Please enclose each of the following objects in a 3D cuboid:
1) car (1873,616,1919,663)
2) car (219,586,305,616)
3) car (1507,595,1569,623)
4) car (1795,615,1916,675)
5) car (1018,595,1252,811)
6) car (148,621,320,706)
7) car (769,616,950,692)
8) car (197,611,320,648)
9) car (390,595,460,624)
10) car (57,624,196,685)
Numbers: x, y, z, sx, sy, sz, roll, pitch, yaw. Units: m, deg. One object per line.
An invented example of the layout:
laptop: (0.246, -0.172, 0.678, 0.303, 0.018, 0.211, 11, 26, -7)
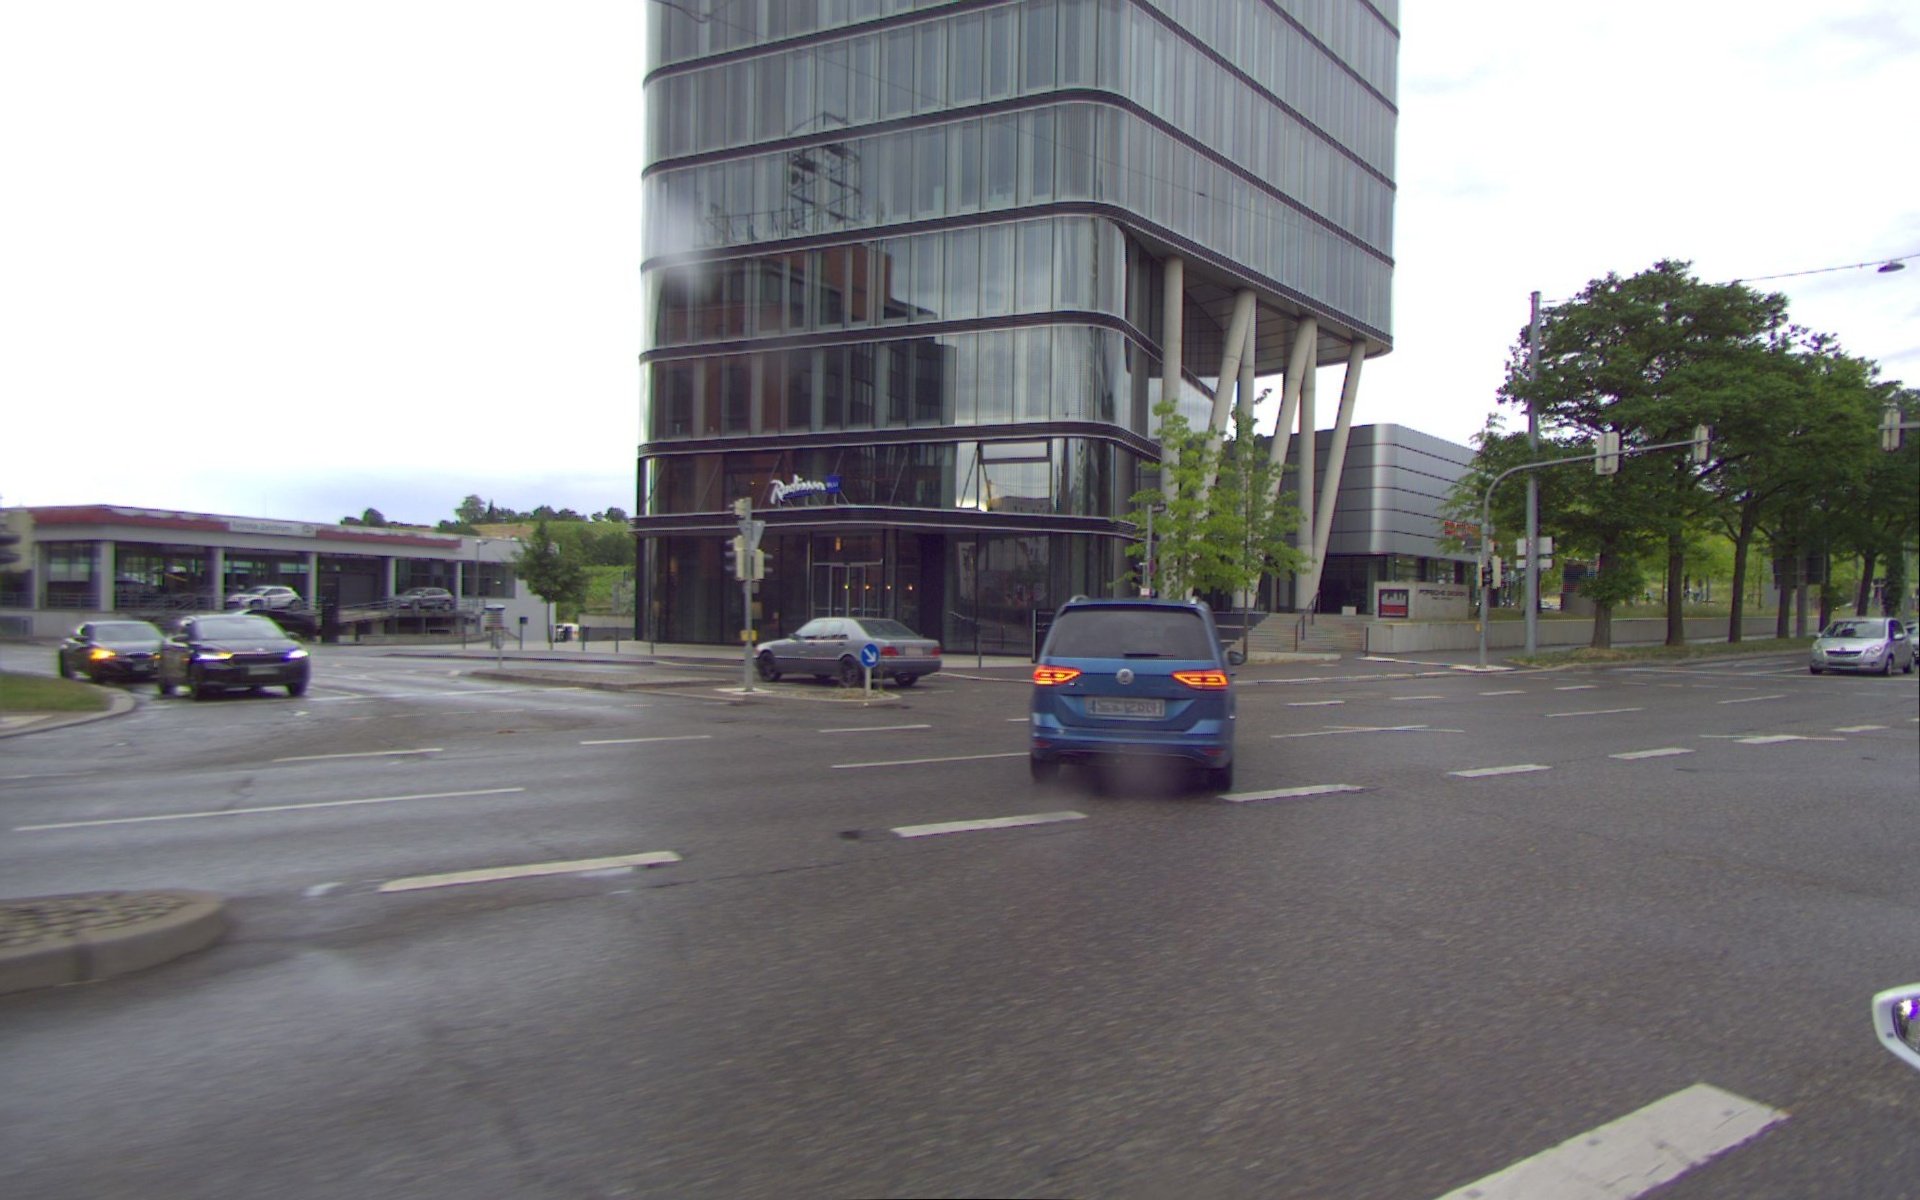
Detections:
car: (31.501, 1.242, 32.641, 4.610, 1.430, 1.802, 0, -1, -36)
car: (-40.904, 0.064, 58.942, 1.782, 1.672, 3.815, 0, -1, 22)
car: (44.562, 0.690, 77.508, 3.938, 2.040, 1.992, 0, 0, 38)
car: (24.809, 1.188, 27.808, 3.780, 1.540, 1.738, 0, -1, -36)
car: (1.919, 0.818, 9.821, 1.742, 1.617, 4.199, 0, -1, 17)
car: (-14.827, 1.224, 20.444, 4.307, 1.530, 1.848, -2, -1, 40)
car: (-2.300, 1.142, 22.444, 3.990, 1.530, 1.843, 0, -2, 42)
car: (-36.202, 1.550, 52.001, 1.764, 1.839, 4.997, 0, -2, 26)
car: (-36.165, 0.671, 68.013, 1.765, 1.874, 3.999, 0, -1, 22)
car: (-20.485, 1.277, 24.648, 3.938, 1.381, 1.845, -1, -2, 38)
